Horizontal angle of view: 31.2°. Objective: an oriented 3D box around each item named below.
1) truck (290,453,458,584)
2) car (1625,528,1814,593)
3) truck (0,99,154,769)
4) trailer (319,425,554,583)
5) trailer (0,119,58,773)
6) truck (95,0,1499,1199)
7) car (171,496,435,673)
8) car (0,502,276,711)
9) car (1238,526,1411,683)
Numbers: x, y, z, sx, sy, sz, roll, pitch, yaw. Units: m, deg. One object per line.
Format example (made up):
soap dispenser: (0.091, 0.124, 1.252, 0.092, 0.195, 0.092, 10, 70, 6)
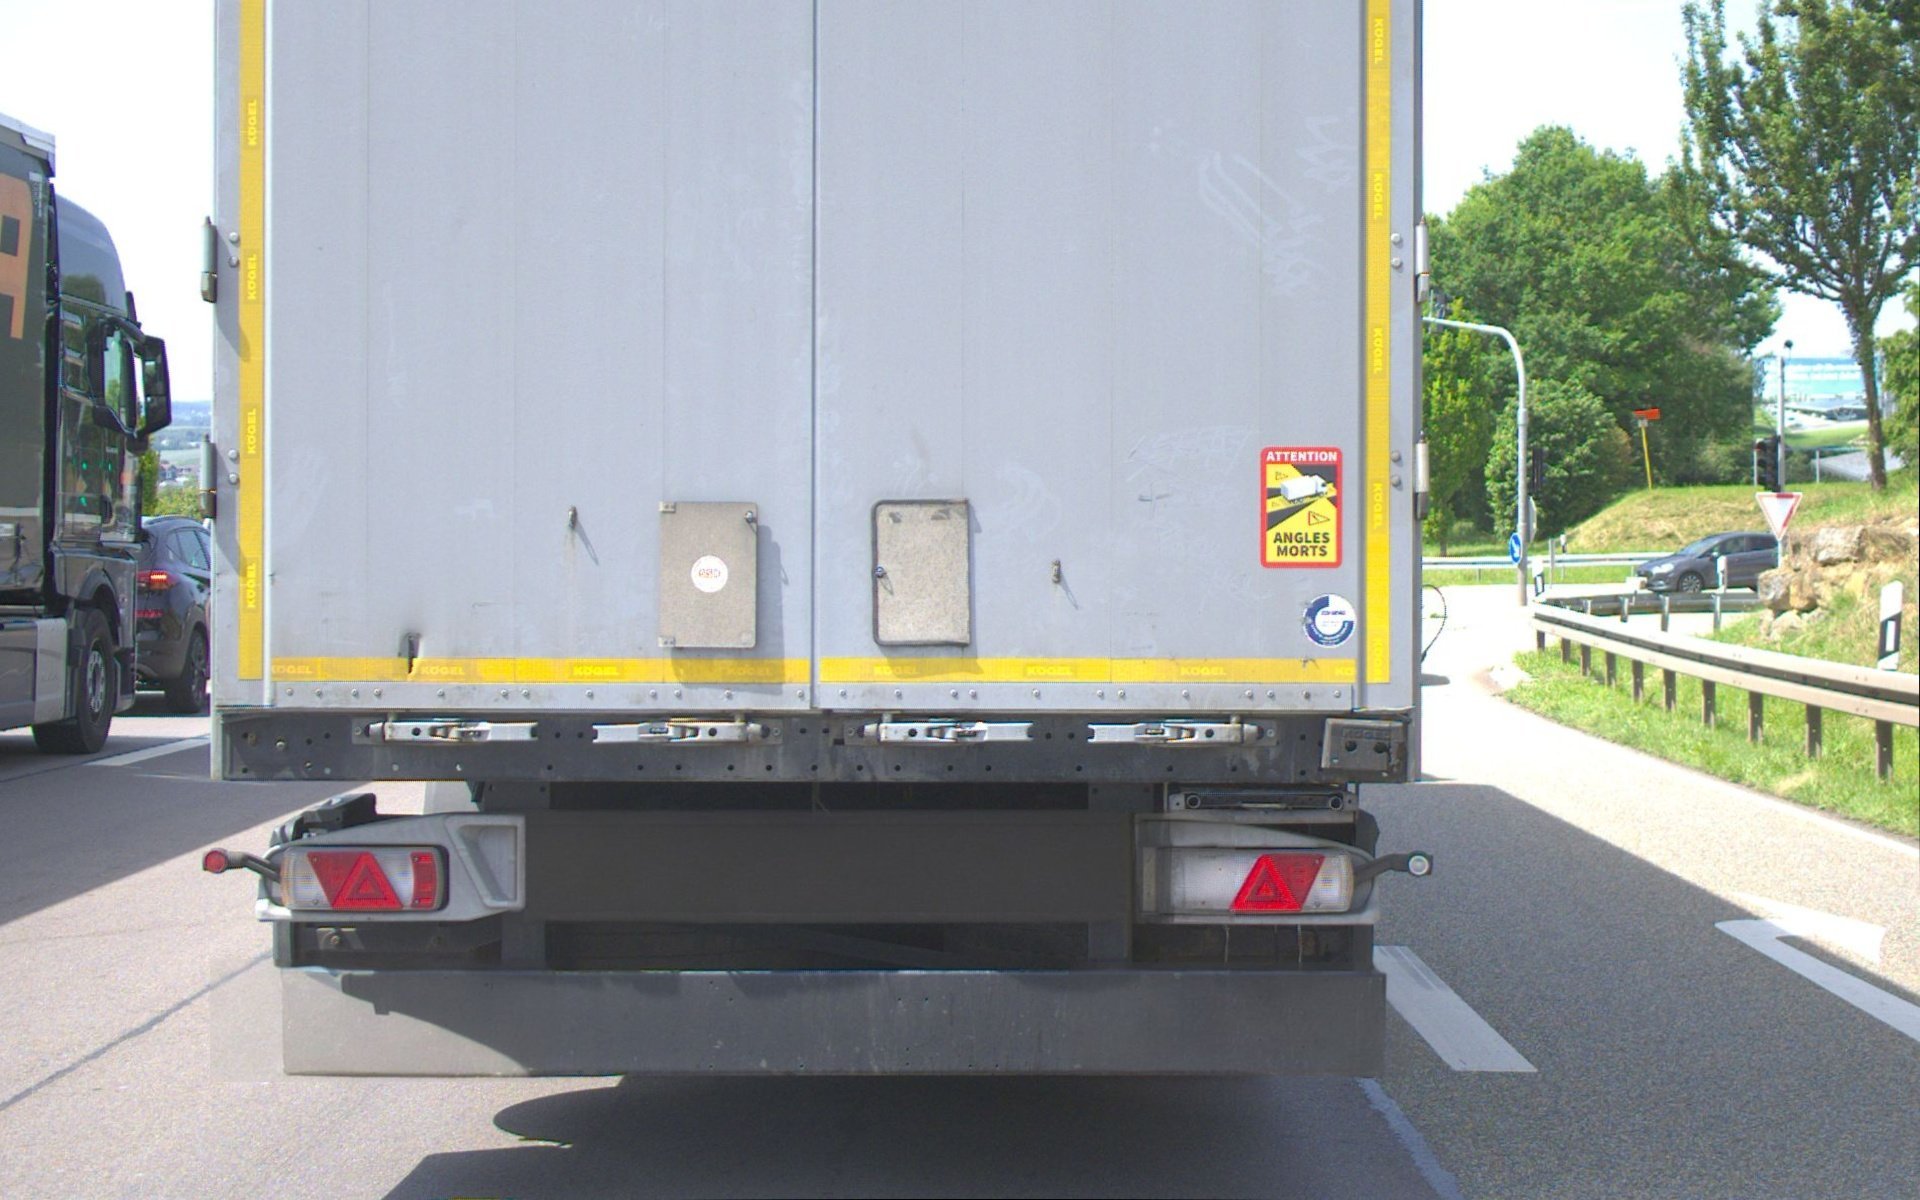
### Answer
truck: (-13.926, -1.902, 82.133, 2.799, 3.003, 5.989, 0, 0, 2)
car: (17.833, -0.932, 80.776, 3.986, 1.505, 1.717, 0, 1, -7)
truck: (-7.127, -1.015, 21.370, 2.783, 3.999, 5.971, 1, 1, 0)
trailer: (-13.625, -2.371, 91.662, 2.639, 3.750, 19.798, 0, 1, 2)
trailer: (-7.141, -0.834, 14.891, 2.783, 3.900, 13.787, 1, 1, 0)
truck: (-0.385, -0.642, 12.605, 2.799, 3.916, 11.342, 1, 1, -1)
car: (-7.105, -0.210, 37.657, 1.768, 1.792, 4.752, 1, 1, 3)
car: (-7.153, 0.005, 29.667, 1.855, 1.652, 4.349, 1, 1, -3)
car: (4.050, 0.029, 38.459, 1.796, 1.634, 3.999, 1, 1, 5)
